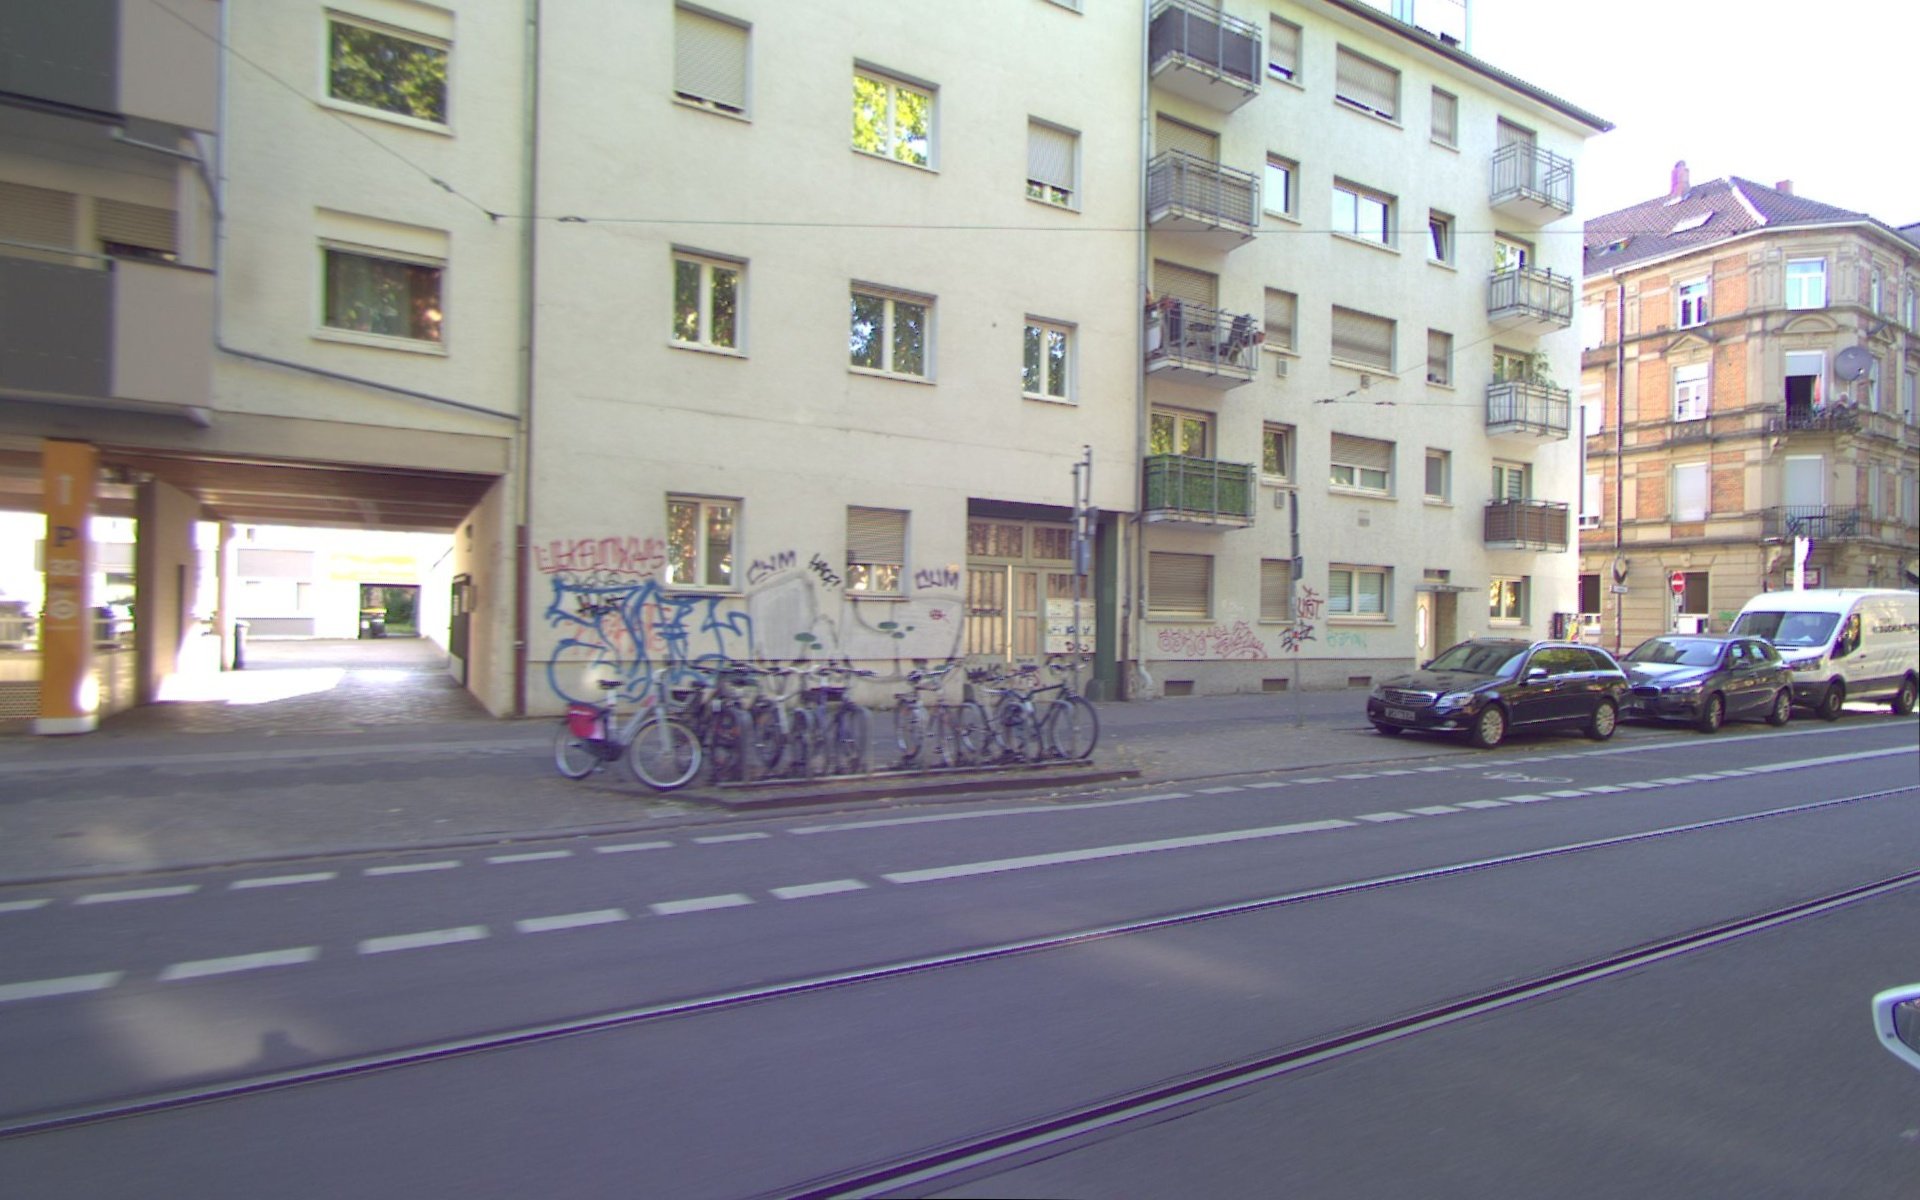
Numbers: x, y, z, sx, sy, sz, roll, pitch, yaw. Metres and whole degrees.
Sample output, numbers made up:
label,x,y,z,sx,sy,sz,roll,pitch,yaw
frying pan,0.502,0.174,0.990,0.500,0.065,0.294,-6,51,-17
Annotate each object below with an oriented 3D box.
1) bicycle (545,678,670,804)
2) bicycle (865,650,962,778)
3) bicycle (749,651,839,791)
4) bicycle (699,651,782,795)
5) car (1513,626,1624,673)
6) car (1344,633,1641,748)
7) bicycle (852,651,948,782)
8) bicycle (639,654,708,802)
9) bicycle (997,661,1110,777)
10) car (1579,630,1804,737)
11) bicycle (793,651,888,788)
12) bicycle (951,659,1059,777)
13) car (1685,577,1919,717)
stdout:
label,x,y,z,sx,sy,sz,roll,pitch,yaw
bicycle,-3.256,1.246,9.202,1.601,0.929,0.400,2,1,45
bicycle,-0.531,1.148,10.647,0.418,1.134,1.785,2,0,-22
bicycle,-1.683,1.131,9.951,0.433,1.134,1.956,2,0,-22
bicycle,-2.153,1.116,9.702,0.433,1.134,1.927,2,0,-22
car,22.815,1.821,37.752,1.697,1.606,3.163,0,0,-24
car,8.004,1.266,15.010,4.515,1.475,1.711,2,-1,-28
bicycle,-0.665,1.162,10.505,0.418,1.134,1.815,2,0,-22
bicycle,-2.720,1.134,9.438,0.396,1.134,1.889,2,0,-22
bicycle,1.004,1.282,11.269,0.396,1.051,1.889,2,0,-22
car,12.950,1.390,17.725,4.298,1.653,1.709,2,-1,-31
bicycle,-1.252,1.144,10.166,0.418,1.134,1.964,2,0,-22
bicycle,0.453,1.238,11.009,0.396,1.051,1.889,2,0,-22
car,17.581,0.944,20.709,5.596,2.569,2.056,2,-1,-28
